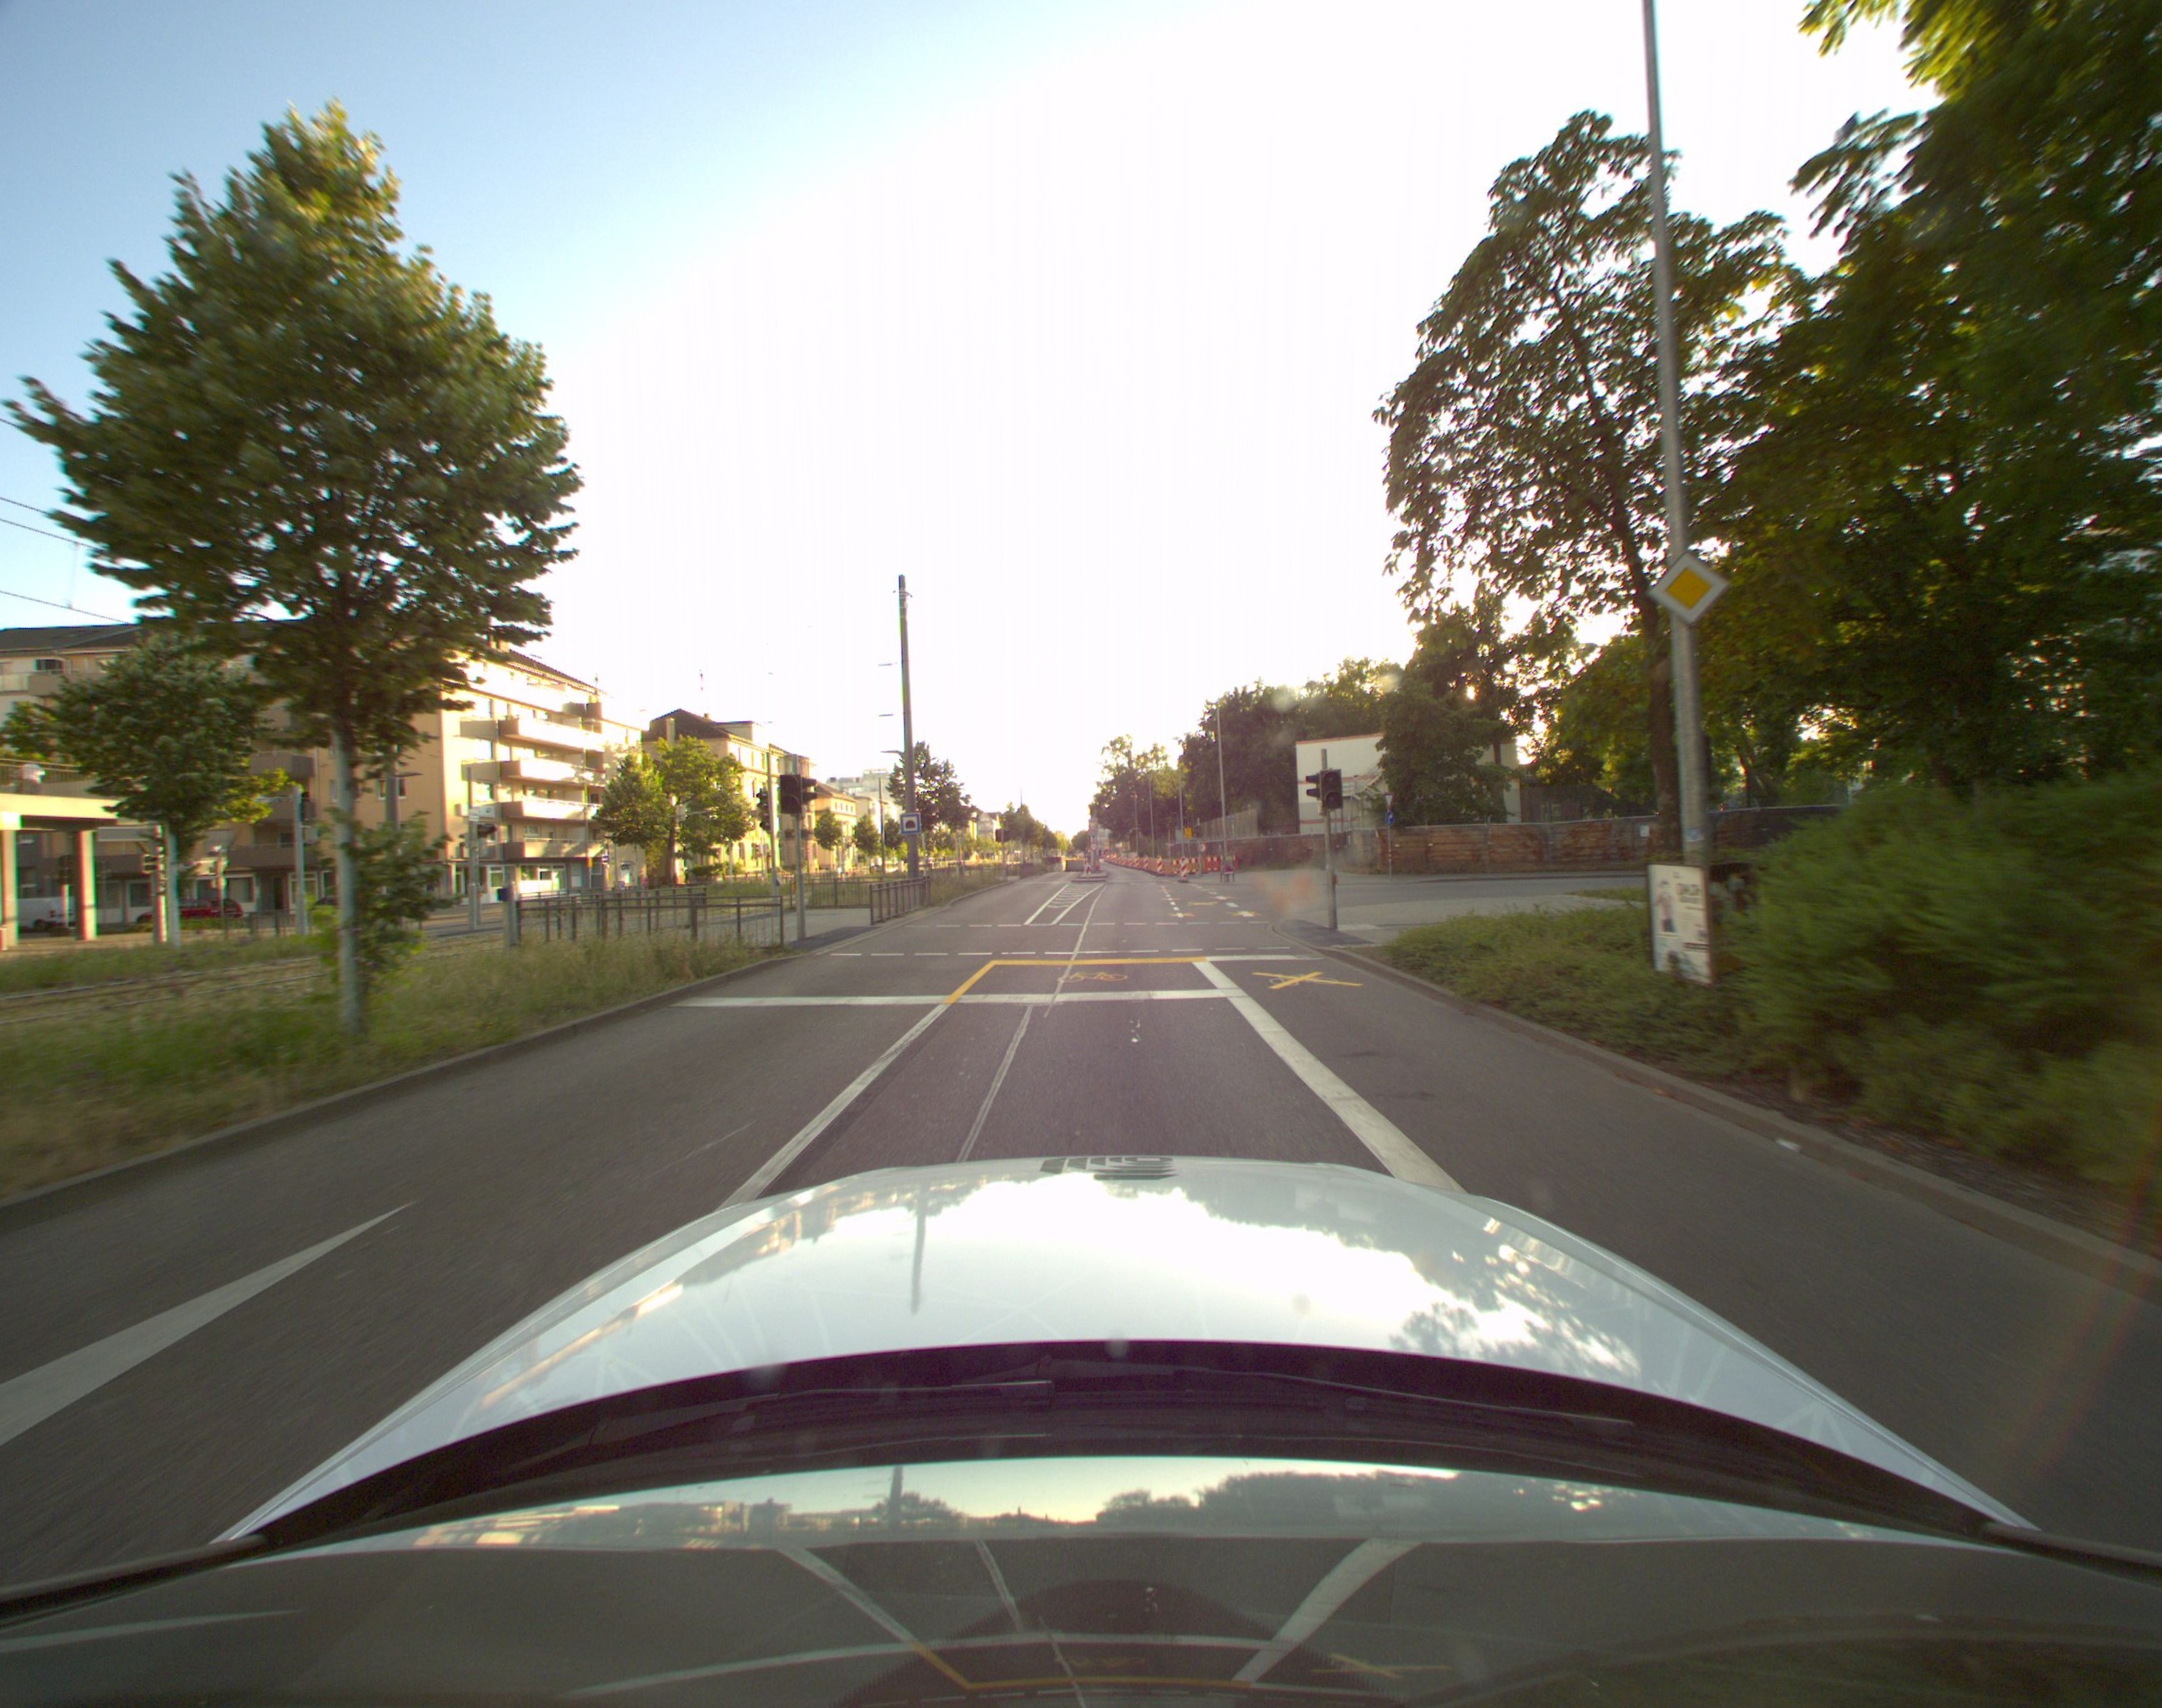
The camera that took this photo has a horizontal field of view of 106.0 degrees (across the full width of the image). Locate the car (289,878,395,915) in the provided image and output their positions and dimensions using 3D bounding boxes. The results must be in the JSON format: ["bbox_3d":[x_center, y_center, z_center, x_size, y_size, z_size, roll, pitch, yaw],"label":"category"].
[{"bbox_3d":[-42.014,2.405,46.401,3.921,1.845,2.191,-2,0,-1],"label":"car"}]

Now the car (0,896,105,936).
[{"bbox_3d":[-58.972,3.505,46.210,4.473,1.990,2.166,-2,0,-1],"label":"car"}]

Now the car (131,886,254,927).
[{"bbox_3d":[-50.541,2.963,46.396,4.318,1.769,2.165,-5,1,-3],"label":"car"}]
